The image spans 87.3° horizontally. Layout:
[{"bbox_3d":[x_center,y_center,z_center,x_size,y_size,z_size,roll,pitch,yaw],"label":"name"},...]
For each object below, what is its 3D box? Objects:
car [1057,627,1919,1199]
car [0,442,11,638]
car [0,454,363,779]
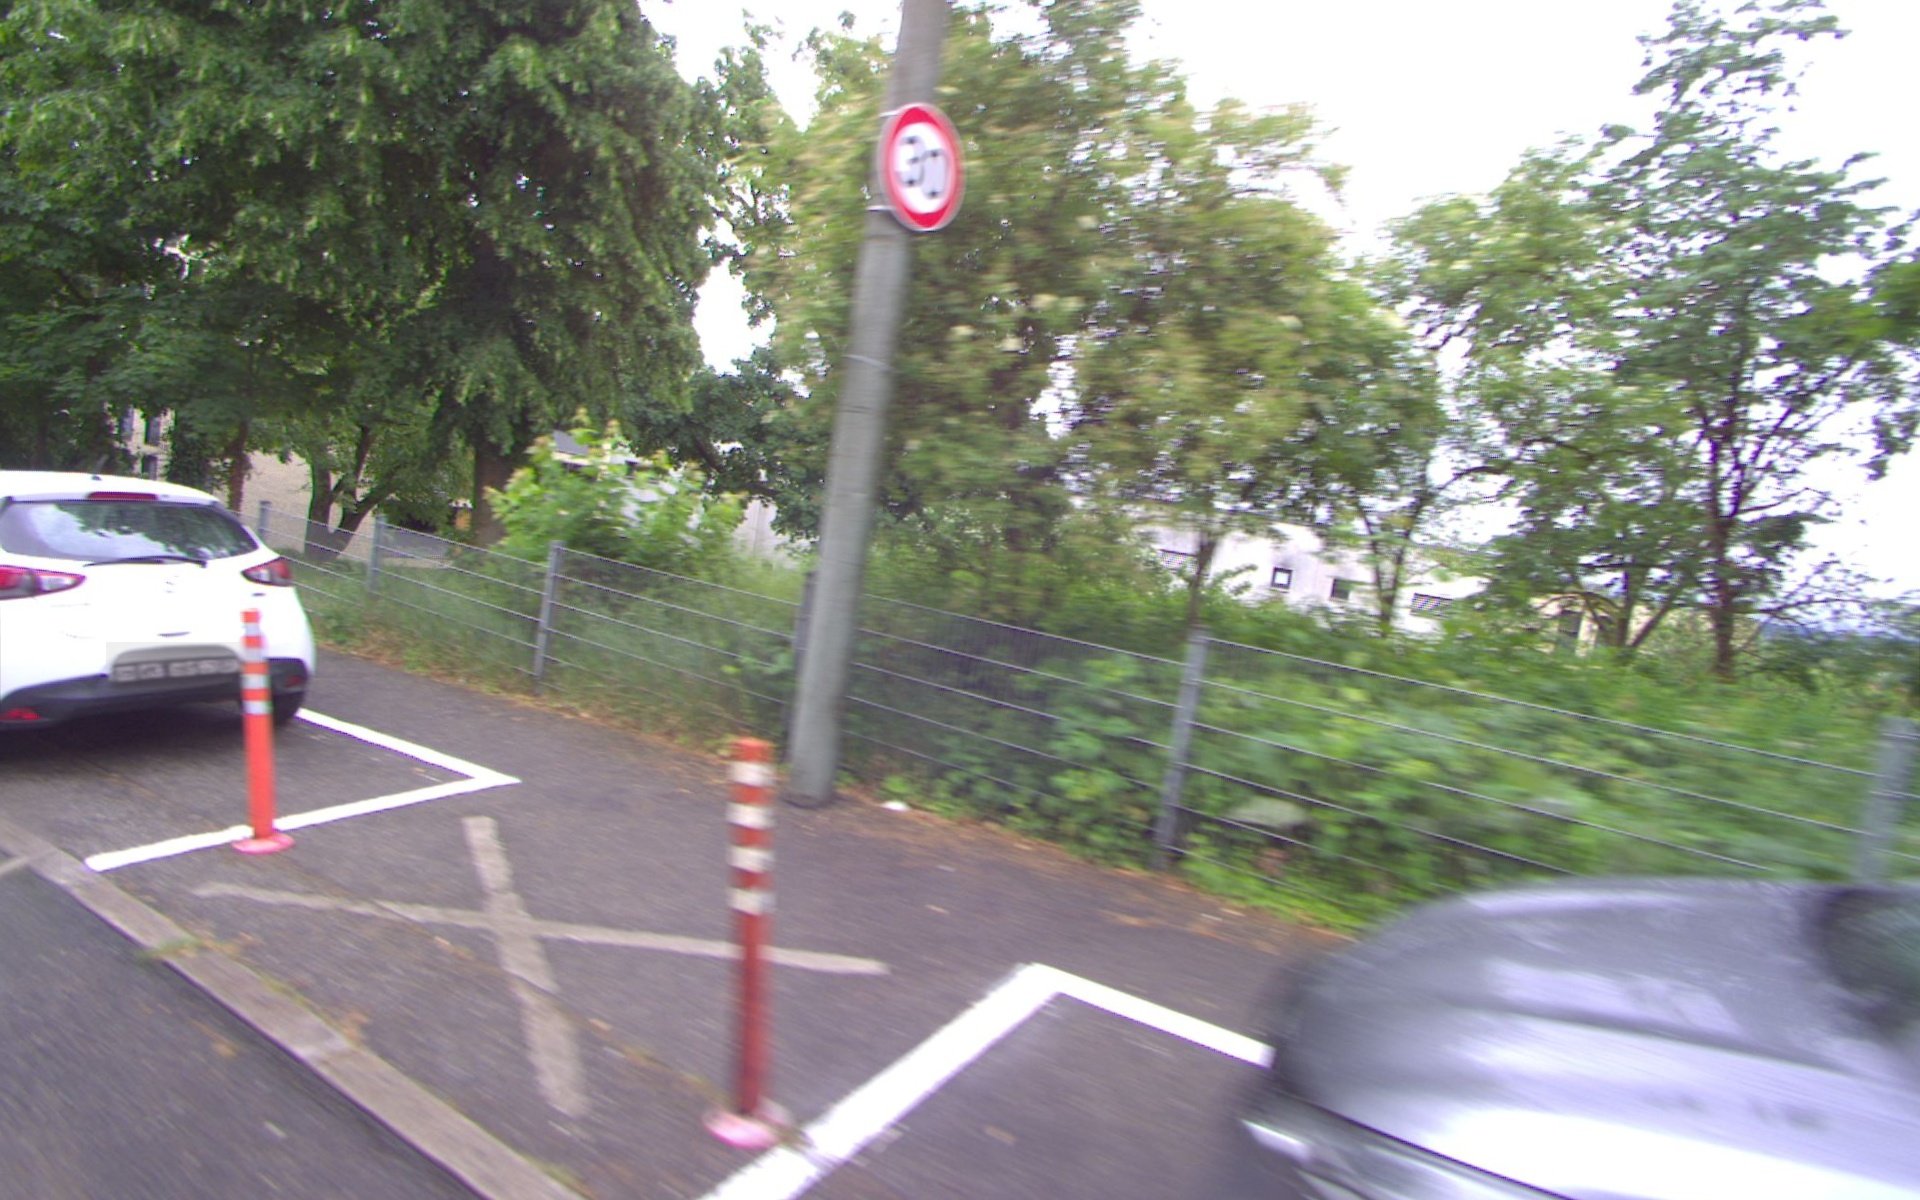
[{"bbox_3d":[2.164,0.980,1.235,3.750,1.425,1.647,7,5,33],"label":"car"},{"bbox_3d":[-10.775,-0.786,9.200,4.722,1.706,1.821,7,4,31],"label":"car"},{"bbox_3d":[-5.794,-0.134,6.277,3.931,1.517,1.813,6,6,28],"label":"car"}]
